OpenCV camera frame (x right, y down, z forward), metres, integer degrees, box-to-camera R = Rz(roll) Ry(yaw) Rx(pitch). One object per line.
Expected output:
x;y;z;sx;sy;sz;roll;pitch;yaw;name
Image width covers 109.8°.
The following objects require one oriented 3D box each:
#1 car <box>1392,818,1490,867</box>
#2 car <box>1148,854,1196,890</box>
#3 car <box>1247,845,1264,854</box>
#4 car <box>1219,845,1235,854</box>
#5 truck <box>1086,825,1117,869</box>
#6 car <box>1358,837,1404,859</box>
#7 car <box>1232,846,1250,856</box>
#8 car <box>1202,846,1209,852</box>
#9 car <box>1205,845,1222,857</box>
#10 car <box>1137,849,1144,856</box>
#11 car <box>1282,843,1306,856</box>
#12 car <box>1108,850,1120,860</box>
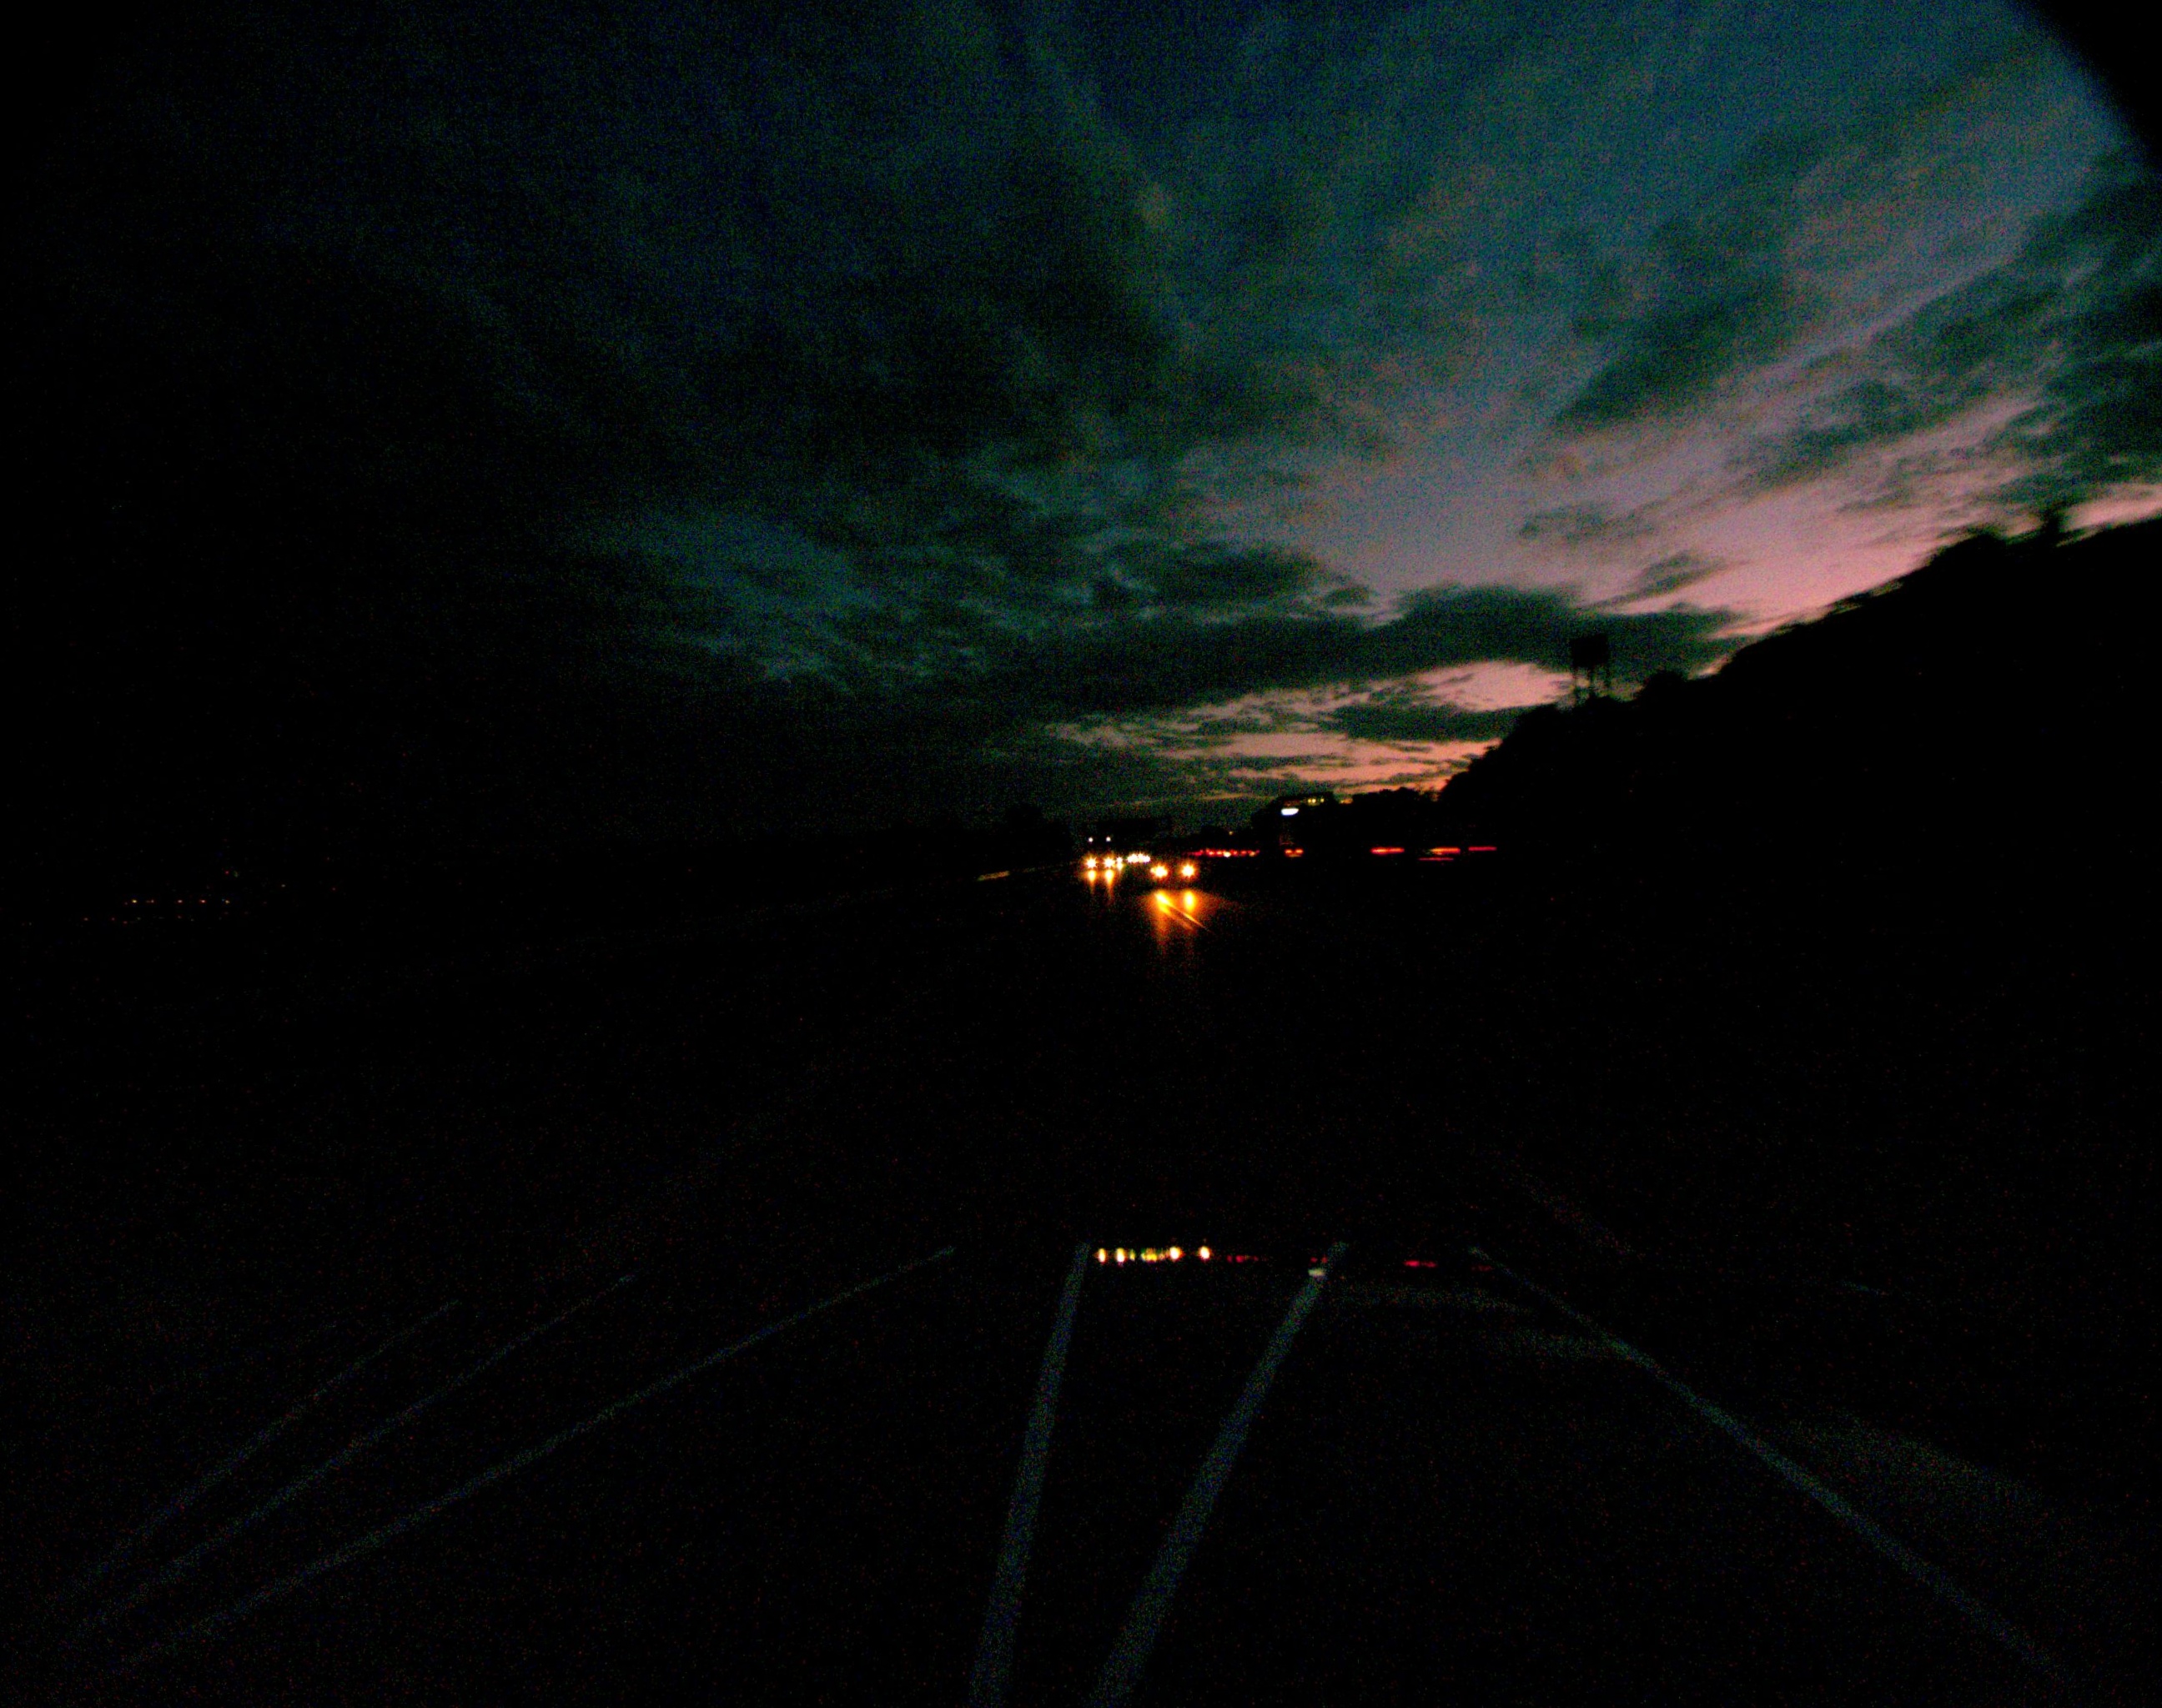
20.147;-0.649;43.001;2.331;2.417;7.094;-3;1;2;car
4.213;0.784;35.641;1.717;1.471;3.999;-3;1;0;car
30.235;-0.773;131.893;1.998;1.393;5.023;-3;1;3;car
25.897;-0.729;134.927;1.998;1.464;5.023;-3;1;3;car
2.255;-0.815;83.905;3.026;4.372;11.615;-3;1;2;truck
25.184;-0.496;63.994;1.998;1.683;4.970;-3;1;2;car
24.876;-0.467;118.300;1.998;1.496;4.558;-3;1;3;car
39.056;-1.489;238.122;1.792;1.799;4.583;-3;1;5;car
21.851;-0.529;125.272;1.998;1.725;5.051;-3;1;3;car
13.859;-0.356;177.611;1.652;1.654;3.776;-3;1;4;car
27.079;-0.589;96.860;1.998;1.451;4.237;-3;1;3;car
5.811;0.159;134.113;1.998;1.715;4.000;-3;1;4;car
